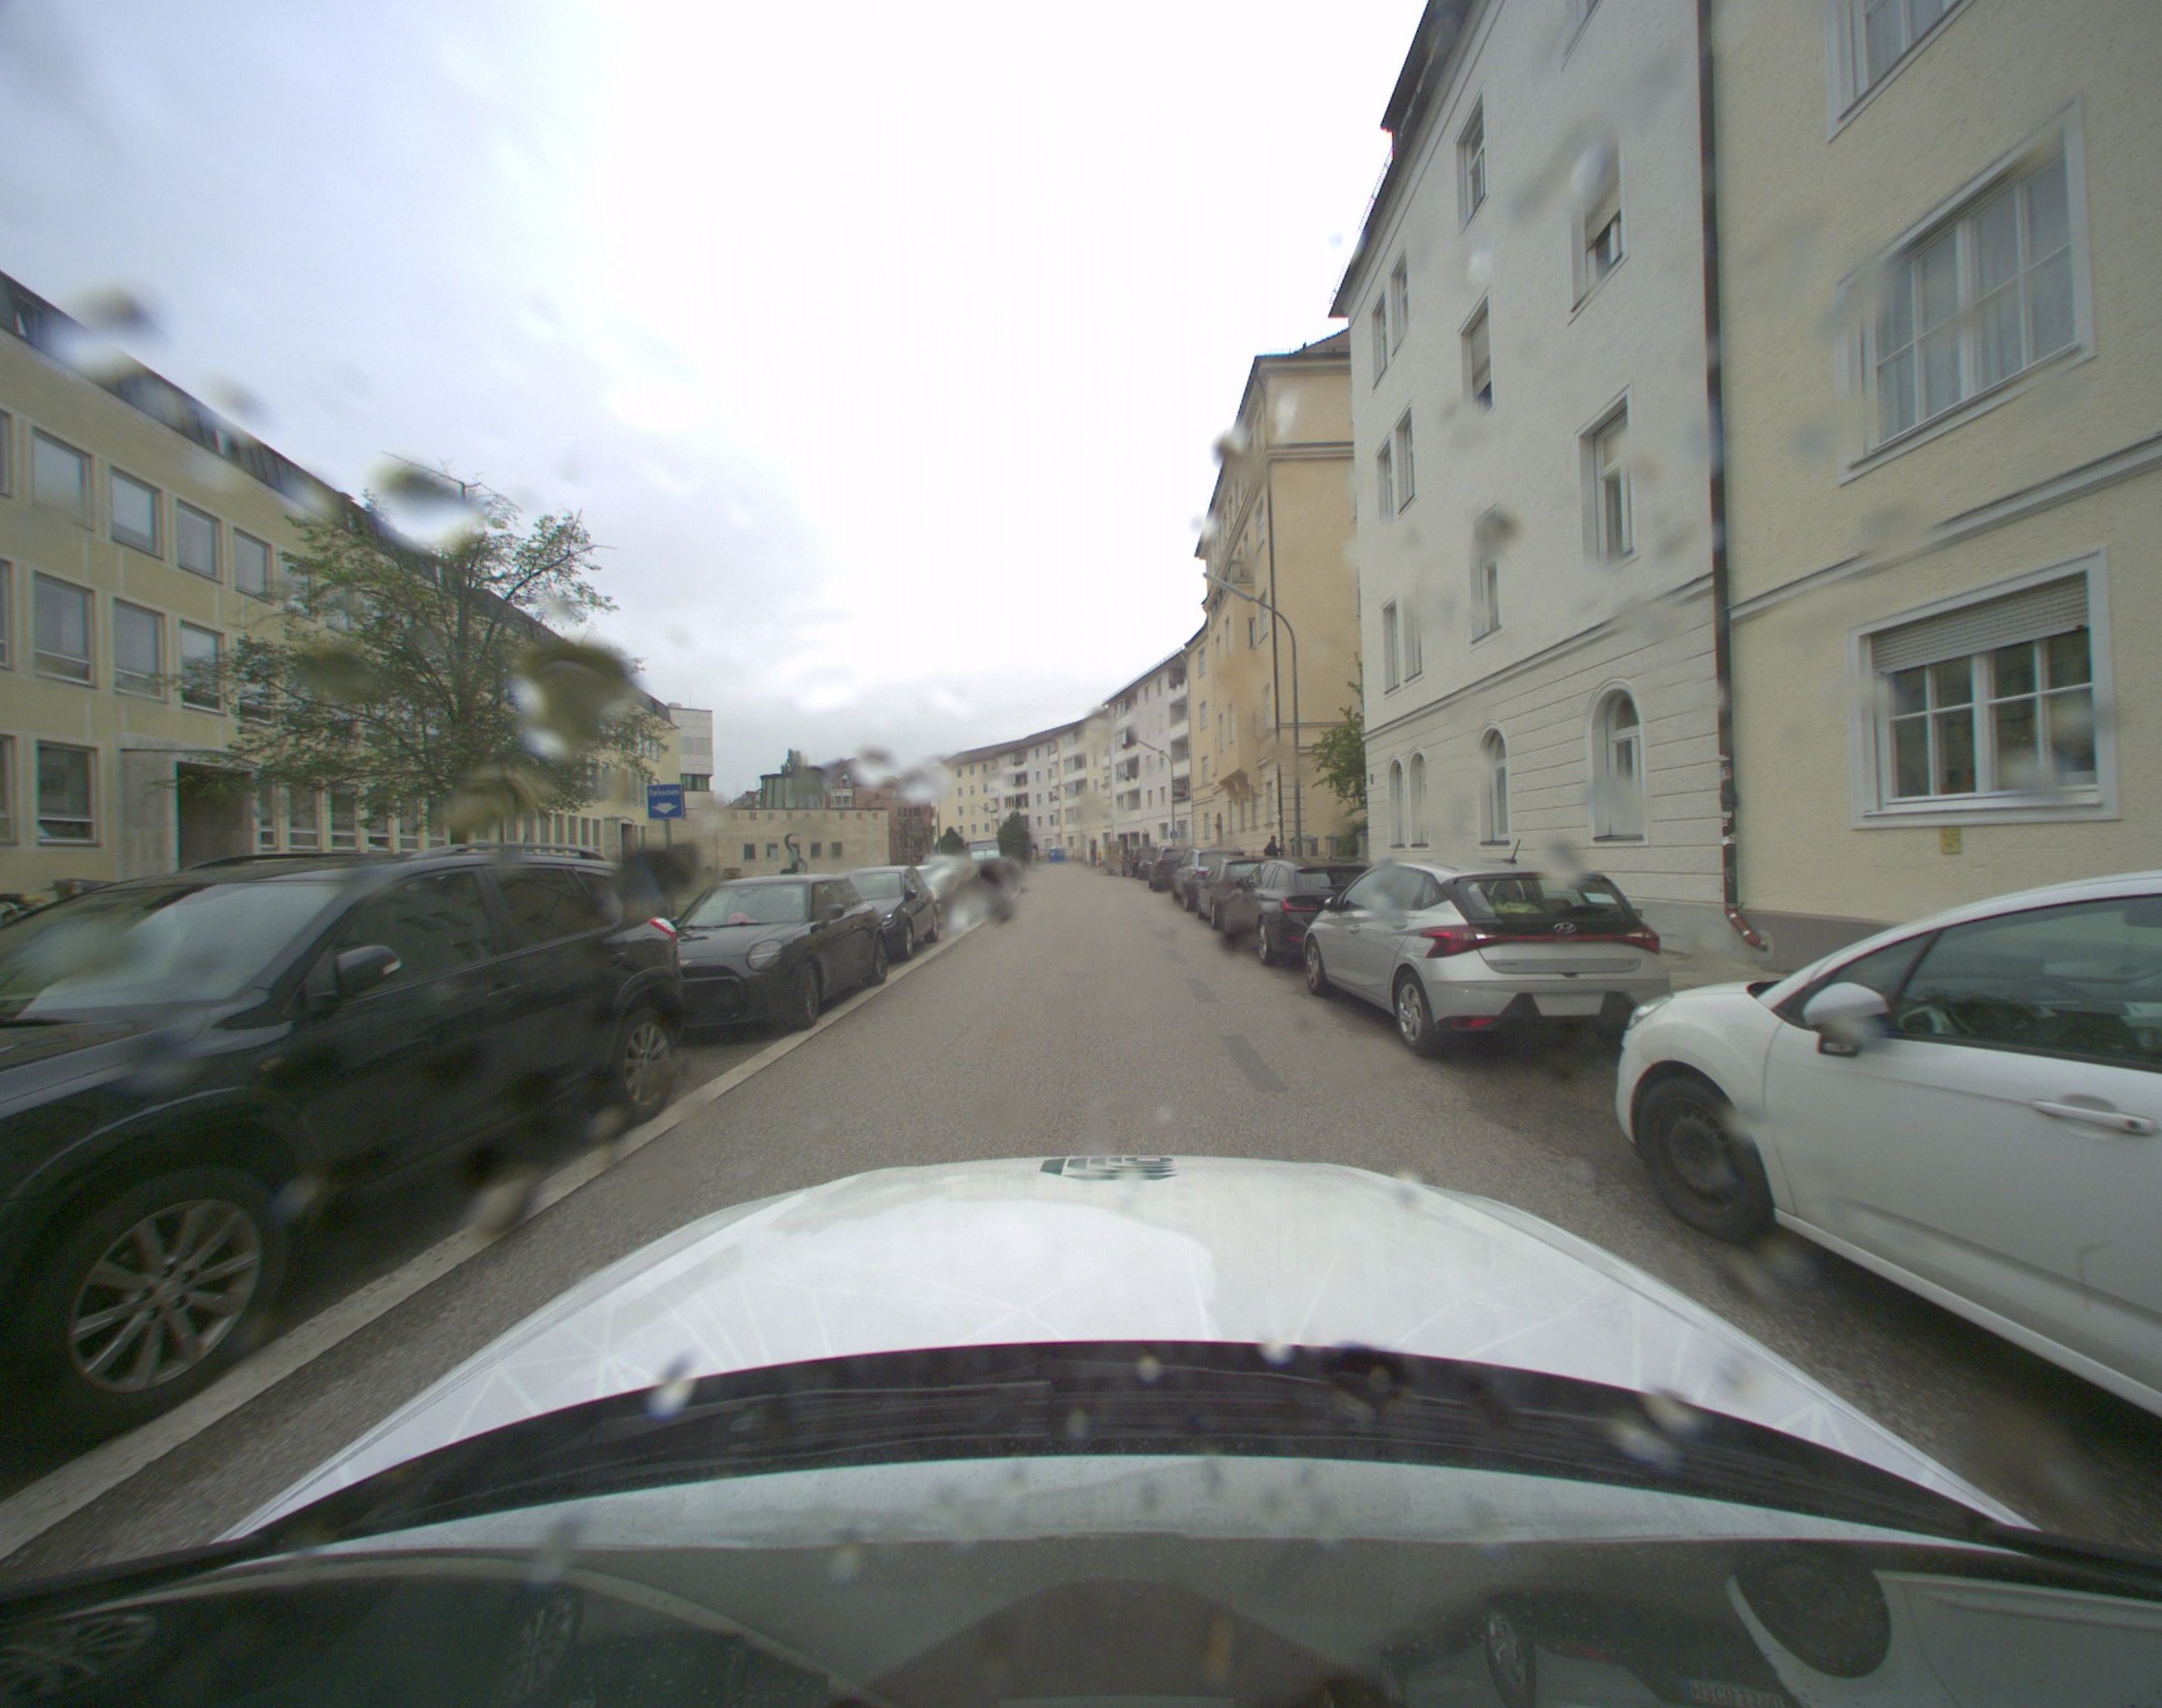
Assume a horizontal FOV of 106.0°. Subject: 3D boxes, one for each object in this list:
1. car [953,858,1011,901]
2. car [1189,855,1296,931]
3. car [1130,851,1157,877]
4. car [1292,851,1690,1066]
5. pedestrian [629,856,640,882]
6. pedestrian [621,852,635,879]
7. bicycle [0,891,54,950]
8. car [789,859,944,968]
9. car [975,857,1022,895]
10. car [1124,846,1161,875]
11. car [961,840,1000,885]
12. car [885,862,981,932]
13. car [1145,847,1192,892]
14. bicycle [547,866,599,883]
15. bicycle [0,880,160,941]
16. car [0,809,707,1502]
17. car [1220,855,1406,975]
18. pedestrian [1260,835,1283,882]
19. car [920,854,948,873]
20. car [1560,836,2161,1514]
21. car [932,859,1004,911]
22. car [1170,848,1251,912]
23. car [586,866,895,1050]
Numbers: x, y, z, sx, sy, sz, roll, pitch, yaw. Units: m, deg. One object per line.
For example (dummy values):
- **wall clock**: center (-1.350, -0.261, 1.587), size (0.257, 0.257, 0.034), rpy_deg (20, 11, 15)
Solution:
- **car**: center (-3.569, 0.890, 29.994), size (1.618, 1.419, 3.980), rpy_deg (-3, 0, 0)
- **car**: center (3.339, 0.751, 17.462), size (1.585, 1.432, 3.826), rpy_deg (0, 0, 1)
- **car**: center (3.360, 0.528, 43.954), size (1.268, 1.299, 2.797), rpy_deg (-1, 0, 0)
- **car**: center (3.250, 0.718, 7.417), size (1.686, 1.432, 3.945), rpy_deg (0, -1, 1)
- **pedestrian**: center (-29.592, 1.007, 54.005), size (0.602, 1.736, 0.657), rpy_deg (1, -1, -29)
- **pedestrian**: center (-29.418, 0.774, 52.867), size (0.672, 1.736, 0.638), rpy_deg (1, -1, -19)
- **bicycle**: center (-20.418, 1.247, 14.836), size (2.210, 1.037, 0.492), rpy_deg (-2, -1, -17)
- **car**: center (-3.488, 0.883, 13.974), size (1.619, 1.508, 3.979), rpy_deg (-3, 0, -1)
- **car**: center (-3.460, 0.894, 34.699), size (1.618, 1.419, 3.647), rpy_deg (-3, 0, 0)
- **car**: center (3.666, 0.366, 49.096), size (1.601, 1.715, 3.081), rpy_deg (0, 0, -8)
- **car**: center (-6.220, 0.509, 50.073), size (1.774, 2.654, 3.977), rpy_deg (-1, 0, -17)
- **car**: center (-3.478, 0.954, 19.730), size (1.619, 1.419, 3.979), rpy_deg (-3, 0, -1)
- **car**: center (3.382, 0.571, 32.034), size (1.469, 1.641, 4.001), rpy_deg (0, 0, 1)
- **bicycle**: center (-27.384, 1.082, 43.930), size (2.210, 0.835, 0.702), rpy_deg (-2, -1, -17)
- **bicycle**: center (-21.433, 1.171, 17.302), size (2.249, 1.168, 1.042), rpy_deg (-1, 0, -14)
- **car**: center (-3.496, 0.773, 3.572), size (1.696, 1.691, 4.028), rpy_deg (-3, 0, 1)
- **car**: center (3.209, 0.744, 12.150), size (1.585, 1.432, 4.421), rpy_deg (0, 0, 1)
- **pedestrian**: center (7.014, 0.177, 30.022), size (0.664, 1.692, 0.690), rpy_deg (1, -1, 1)
- **car**: center (-13.088, 0.868, 72.335), size (1.607, 1.648, 3.113), rpy_deg (1, -1, -26)
- **car**: center (3.190, 0.702, 2.189), size (1.593, 1.491, 3.799), rpy_deg (-1, 0, 1)
- **car**: center (-3.425, 0.898, 25.315), size (1.618, 1.419, 3.980), rpy_deg (-3, 0, 0)
- **car**: center (3.463, 0.630, 22.445), size (1.585, 1.582, 4.299), rpy_deg (0, 0, 1)
- **car**: center (-3.323, 0.908, 8.819), size (1.618, 1.412, 3.799), rpy_deg (-3, 0, 1)
